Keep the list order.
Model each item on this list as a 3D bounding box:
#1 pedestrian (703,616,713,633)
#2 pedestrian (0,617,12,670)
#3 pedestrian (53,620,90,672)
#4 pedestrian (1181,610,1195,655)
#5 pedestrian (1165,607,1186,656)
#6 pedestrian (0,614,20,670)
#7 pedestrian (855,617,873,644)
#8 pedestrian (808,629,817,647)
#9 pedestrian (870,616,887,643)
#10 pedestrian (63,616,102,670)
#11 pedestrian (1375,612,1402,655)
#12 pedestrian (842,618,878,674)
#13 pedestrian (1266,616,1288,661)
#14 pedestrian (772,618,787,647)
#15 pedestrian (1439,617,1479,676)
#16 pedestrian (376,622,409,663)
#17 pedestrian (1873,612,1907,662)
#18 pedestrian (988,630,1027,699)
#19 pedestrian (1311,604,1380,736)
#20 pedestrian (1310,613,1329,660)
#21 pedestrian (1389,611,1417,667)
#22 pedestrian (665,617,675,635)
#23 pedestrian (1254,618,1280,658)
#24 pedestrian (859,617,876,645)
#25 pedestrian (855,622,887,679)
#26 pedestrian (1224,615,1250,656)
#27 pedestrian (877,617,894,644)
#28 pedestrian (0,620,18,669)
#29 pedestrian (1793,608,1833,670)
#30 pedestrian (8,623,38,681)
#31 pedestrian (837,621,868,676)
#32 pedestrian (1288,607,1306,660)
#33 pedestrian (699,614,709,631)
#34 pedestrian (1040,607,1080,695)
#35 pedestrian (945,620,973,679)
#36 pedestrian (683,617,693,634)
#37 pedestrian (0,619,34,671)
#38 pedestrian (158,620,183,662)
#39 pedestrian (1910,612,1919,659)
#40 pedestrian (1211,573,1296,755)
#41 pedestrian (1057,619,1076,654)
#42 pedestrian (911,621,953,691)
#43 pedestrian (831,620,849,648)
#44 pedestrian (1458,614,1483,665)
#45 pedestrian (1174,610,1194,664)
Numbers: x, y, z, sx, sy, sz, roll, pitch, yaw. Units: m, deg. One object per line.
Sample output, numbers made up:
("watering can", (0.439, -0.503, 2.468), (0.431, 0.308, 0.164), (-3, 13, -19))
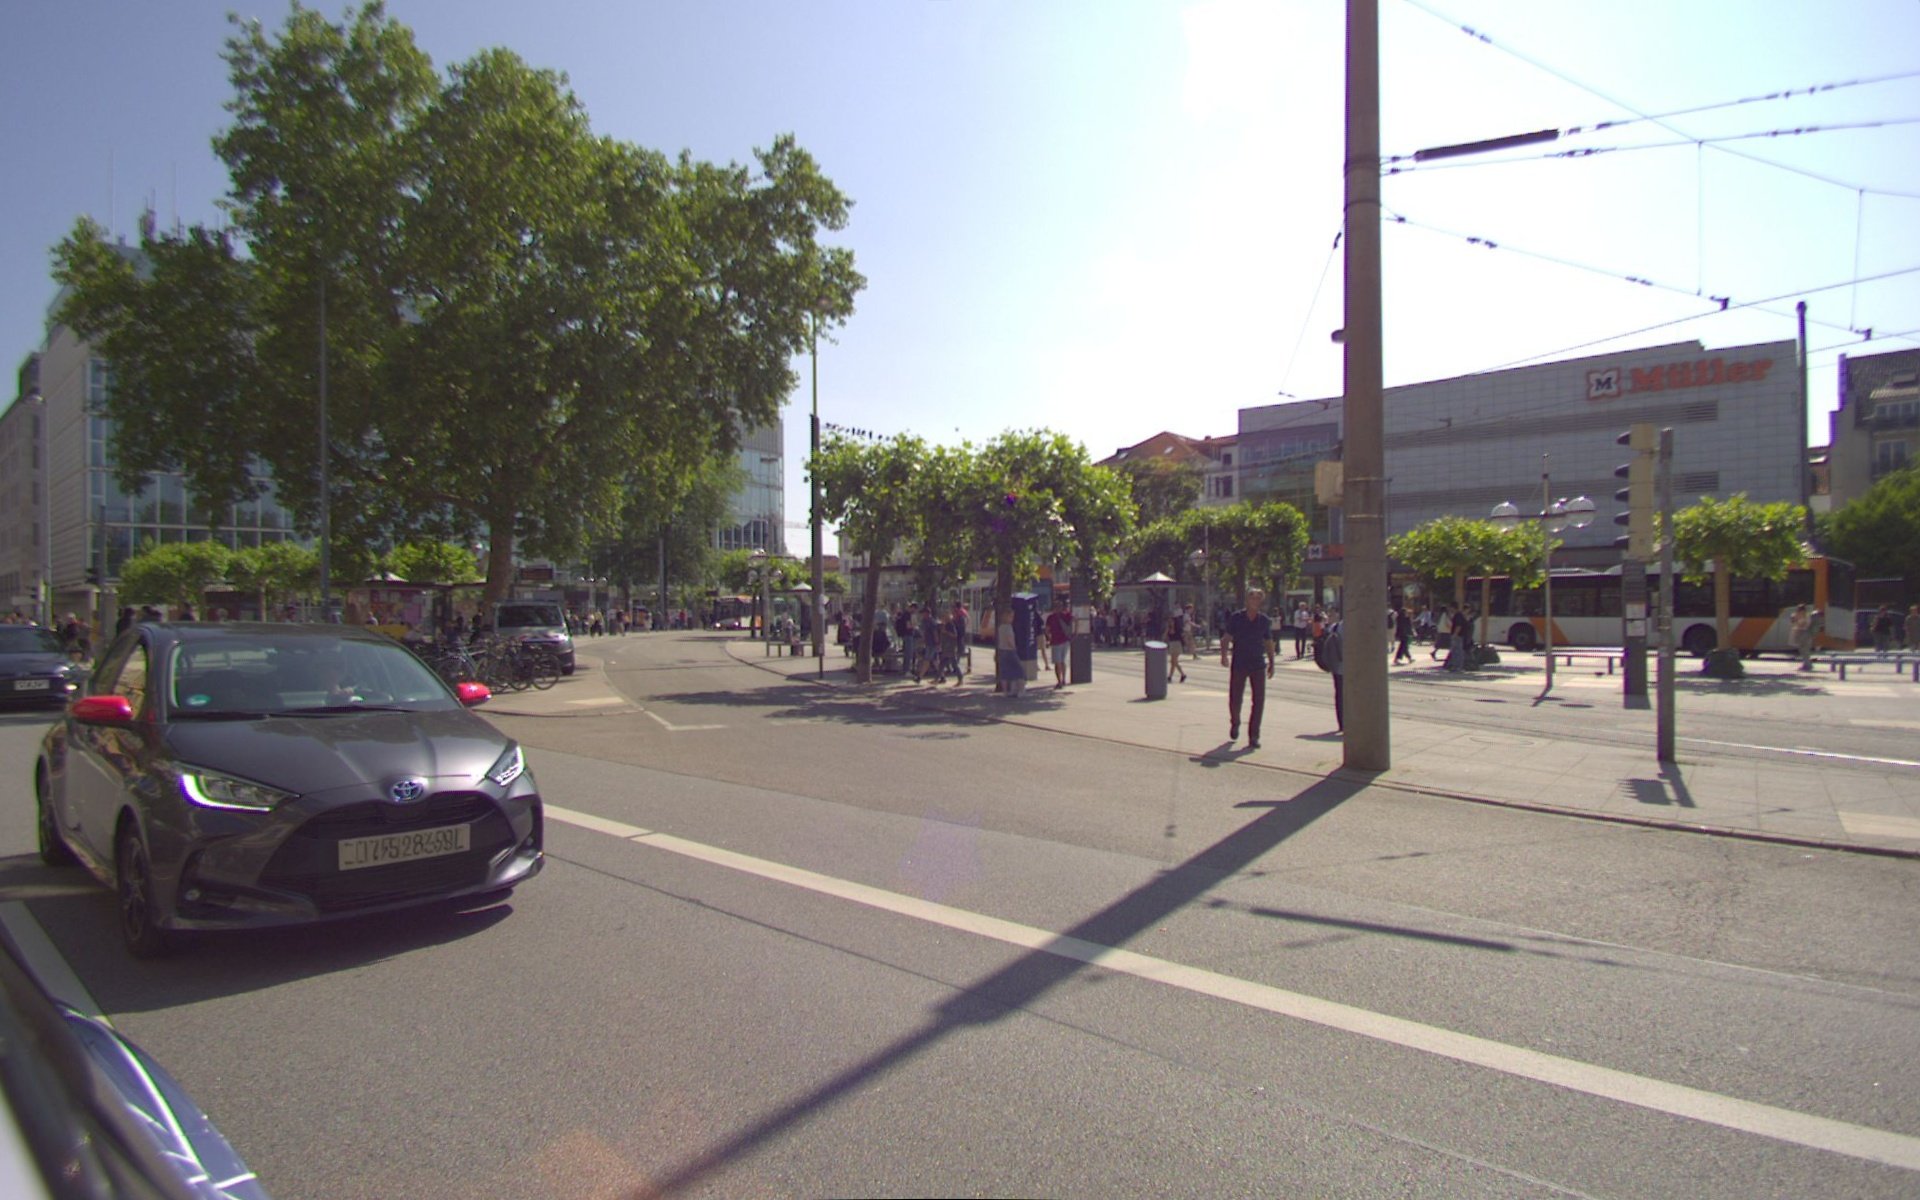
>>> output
("pedestrian", (-23.225, 2.279, 93.216), (0.745, 1.483, 0.557), (-2, 0, -22))
("pedestrian", (-32.882, 1.489, 34.530), (0.733, 1.760, 0.631), (-1, 0, 39))
("pedestrian", (-31.145, 1.595, 35.478), (0.731, 1.760, 0.743), (-2, 0, 31))
("pedestrian", (8.878, 1.289, 39.456), (0.462, 1.731, 0.555), (-1, -4, 19))
("pedestrian", (8.068, 1.190, 37.848), (0.675, 1.809, 0.621), (-1, -4, 19))
("pedestrian", (-30.913, 1.350, 32.733), (0.733, 1.760, 0.631), (-1, 0, 39))
("pedestrian", (-5.363, 1.703, 56.546), (0.555, 1.483, 0.748), (-1, 0, 40))
("pedestrian", (-7.875, 2.036, 54.073), (0.333, 0.970, 0.328), (-2, 0, 22))
("pedestrian", (-4.577, 1.681, 57.054), (0.555, 1.483, 0.748), (-1, 0, 40))
("pedestrian", (-29.076, 1.420, 33.532), (0.882, 1.760, 0.715), (-2, 0, 31))
("pedestrian", (15.018, 1.189, 35.490), (0.672, 1.477, 0.623), (0, -3, 7))
("pedestrian", (-2.666, 1.231, 26.948), (0.716, 1.477, 0.682), (2, -4, -28))
("pedestrian", (10.760, 1.322, 34.335), (0.675, 1.513, 0.621), (-1, -4, 19))
("pedestrian", (-9.666, 1.743, 54.142), (0.547, 1.483, 0.533), (-2, 0, -42))
("pedestrian", (12.222, 1.136, 24.815), (0.617, 1.429, 0.680), (0, -3, 3))
("pedestrian", (-18.218, 1.358, 32.500), (0.613, 1.251, 0.665), (-2, 0, 31))
("pedestrian", (27.837, 1.104, 30.293), (0.680, 1.477, 0.616), (-3, -5, 44))
("pedestrian", (0.873, 1.173, 18.678), (0.568, 1.243, 0.555), (0, -1, -15))
("pedestrian", (5.110, 0.894, 13.396), (0.678, 1.671, 0.885), (-1, -2, 32))
("pedestrian", (11.373, 1.165, 32.039), (0.549, 1.477, 0.621), (-1, -4, 19))
("pedestrian", (12.564, 1.125, 28.703), (0.530, 1.565, 0.592), (-3, -5, 44))
("pedestrian", (-24.774, 2.184, 86.549), (0.745, 1.483, 0.557), (-2, 0, -22))
("pedestrian", (11.271, 1.402, 37.201), (0.615, 1.477, 0.681), (4, -5, -43))
("pedestrian", (-5.090, 1.692, 55.729), (0.555, 1.483, 0.748), (-1, 0, 40))
("pedestrian", (-2.325, 1.322, 26.464), (0.614, 1.477, 0.682), (2, -4, -28))
("pedestrian", (10.321, 1.330, 37.718), (0.615, 1.477, 0.681), (4, -5, -43))
("pedestrian", (-4.094, 1.664, 55.507), (0.555, 1.483, 0.748), (-1, 0, 40))
("pedestrian", (-35.144, 1.648, 37.057), (0.720, 1.760, 0.642), (-2, 0, -24))
("pedestrian", (20.709, 0.954, 24.568), (0.670, 1.477, 0.626), (4, -5, -43))
("pedestrian", (-28.666, 1.589, 30.957), (0.651, 1.726, 0.568), (-1, 0, 39))
("pedestrian", (-2.941, 1.306, 27.749), (0.614, 1.476, 0.682), (0, -1, -28))
("pedestrian", (10.770, 1.074, 32.336), (0.518, 1.678, 0.469), (-1, -4, 19))
("pedestrian", (-22.691, 2.018, 89.735), (0.745, 1.483, 0.557), (-2, 0, -22))
("pedestrian", (2.040, 1.043, 20.679), (0.614, 1.759, 0.682), (1, -4, -15))
("pedestrian", (-0.036, 1.278, 25.995), (0.670, 1.477, 0.625), (0, -3, -3))
("pedestrian", (-23.699, 2.195, 88.034), (0.745, 1.483, 0.557), (-2, 0, -22))
("pedestrian", (-33.114, 1.550, 35.468), (0.732, 1.760, 0.865), (-1, 0, 39))
("pedestrian", (-32.482, 1.675, 41.646), (0.721, 1.682, 0.641), (-2, 0, -36))
("pedestrian", (30.951, 1.141, 32.434), (0.680, 1.477, 0.616), (-3, -5, 44))
("pedestrian", (3.395, 0.736, 11.779), (0.670, 2.023, 0.895), (0, -3, -3))
("pedestrian", (4.783, 1.654, 45.523), (0.568, 1.561, 0.683), (2, -4, -22))
("pedestrian", (-0.613, 1.212, 21.994), (0.680, 1.477, 0.616), (-3, -5, 41))
("pedestrian", (-6.504, 1.818, 54.860), (0.555, 1.483, 0.748), (-1, 0, 40))
("pedestrian", (15.056, 1.165, 29.851), (0.585, 1.477, 0.522), (-1, -4, 21))
("pedestrian", (7.308, 1.204, 32.976), (0.584, 1.744, 0.557), (-1, -4, 19))
